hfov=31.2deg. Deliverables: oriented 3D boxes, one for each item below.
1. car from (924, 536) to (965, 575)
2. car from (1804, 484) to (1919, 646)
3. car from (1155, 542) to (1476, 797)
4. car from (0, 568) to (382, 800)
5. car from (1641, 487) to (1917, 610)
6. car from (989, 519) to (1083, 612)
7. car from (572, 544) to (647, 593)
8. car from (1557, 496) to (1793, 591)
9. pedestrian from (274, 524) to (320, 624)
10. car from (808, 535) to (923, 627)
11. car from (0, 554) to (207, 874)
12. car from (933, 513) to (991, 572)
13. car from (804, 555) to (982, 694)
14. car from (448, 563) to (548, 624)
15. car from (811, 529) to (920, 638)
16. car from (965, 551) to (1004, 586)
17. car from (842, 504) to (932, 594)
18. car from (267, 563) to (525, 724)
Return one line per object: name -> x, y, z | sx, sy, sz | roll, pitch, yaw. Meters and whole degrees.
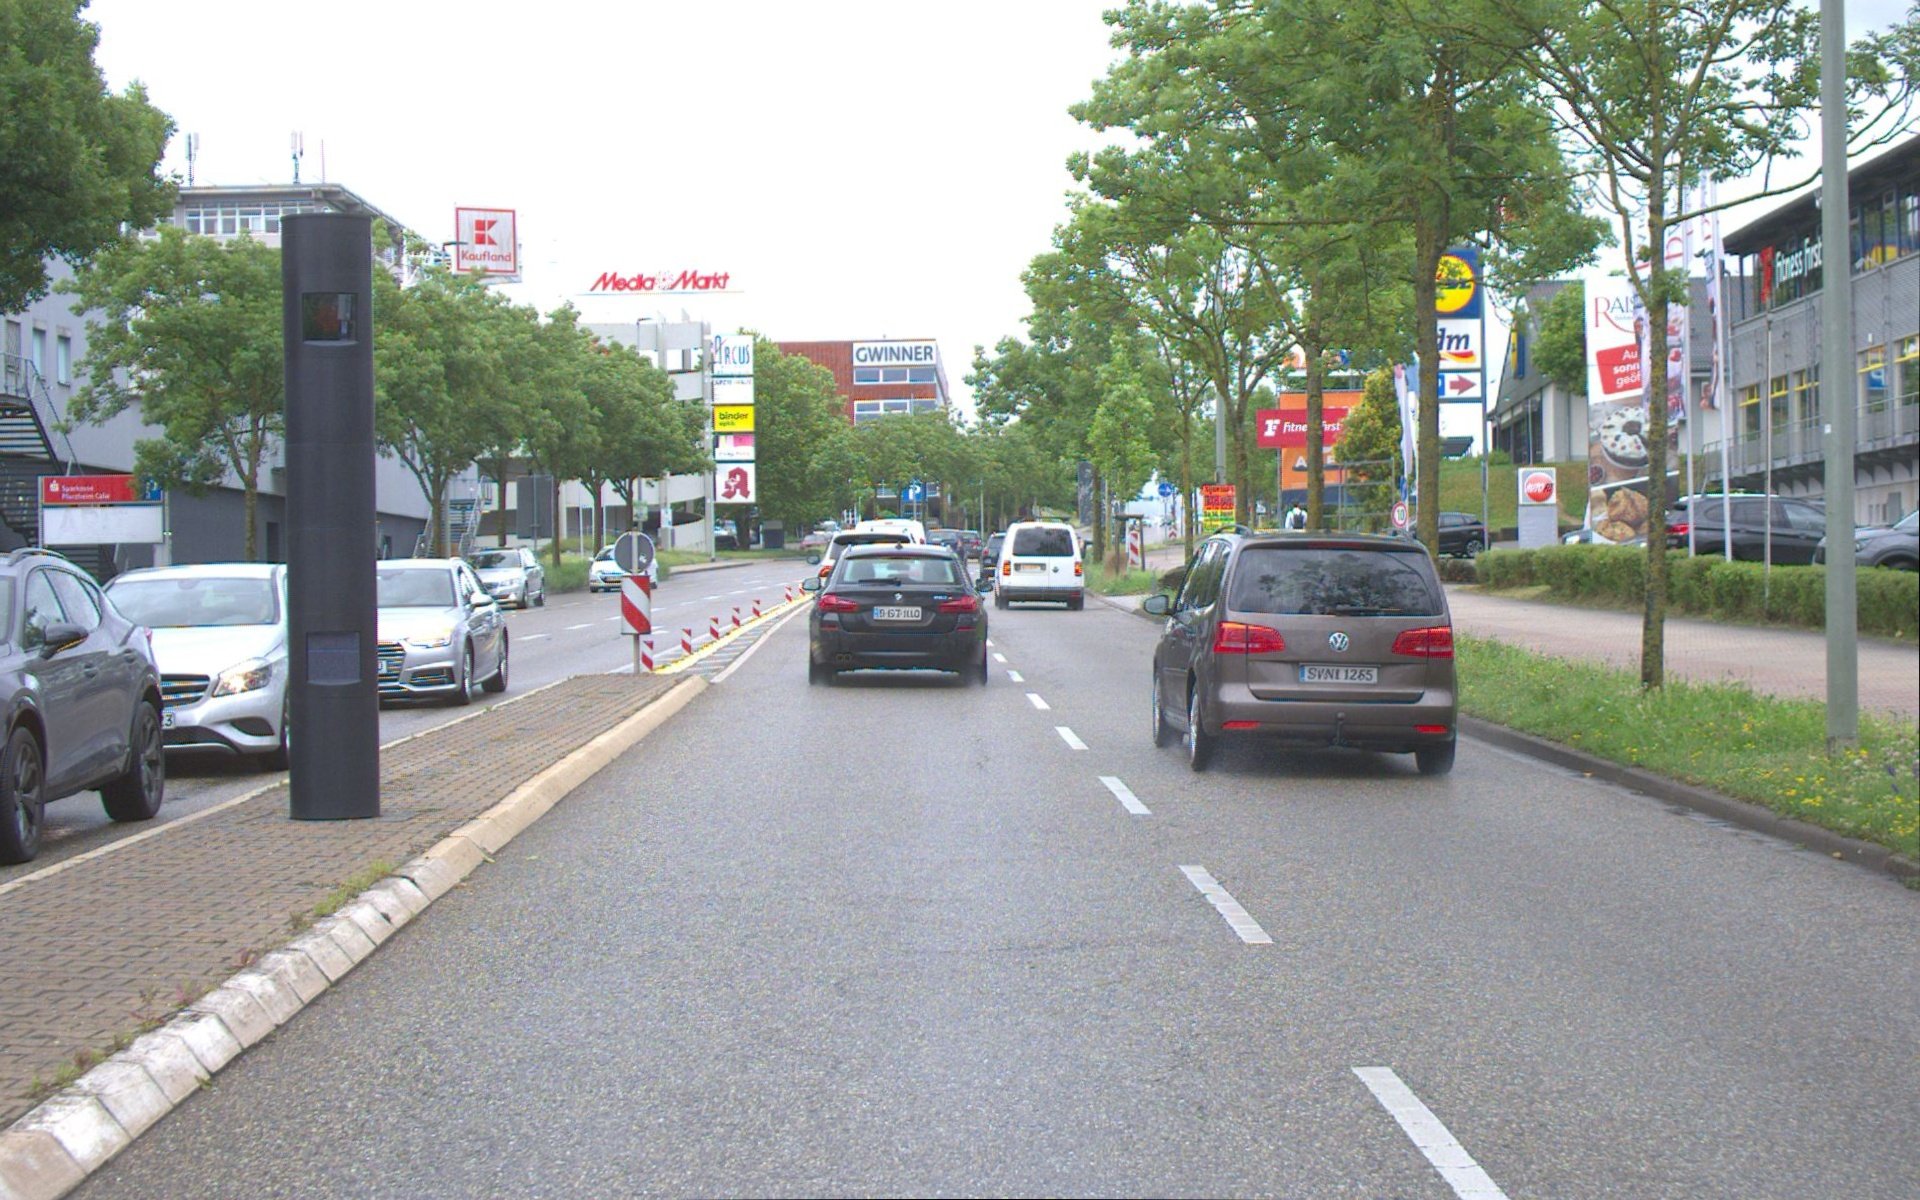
car -> -0.639, -1.762, 137.002 | 1.594, 1.469, 3.445 | 1, 0, -1
car -> 13.535, -0.490, 45.871 | 4.111, 2.098, 1.799 | -1, 1, 2
car -> 2.379, 0.411, 24.009 | 1.801, 1.581, 4.451 | 1, 1, 1
car -> -5.472, 0.524, 24.703 | 1.840, 1.372, 4.863 | -4, 1, -1
car -> 13.479, -0.854, 56.719 | 4.111, 1.898, 1.799 | -1, 1, 2
car -> 1.555, -0.716, 71.703 | 1.782, 1.860, 4.000 | -1, 0, 0
car -> -10.634, -0.961, 104.549 | 1.943, 1.443, 4.000 | 0, 1, -1
car -> 13.257, -1.048, 63.942 | 4.111, 1.698, 1.799 | -1, 1, 6
pedestrian -> -14.695, -0.578, 76.190 | 0.858, 2.210, 0.846 | -1, 1, -3
car -> -1.541, -0.309, 54.742 | 1.682, 1.372, 4.001 | -1, 1, -3
car -> -5.318, 0.526, 17.677 | 1.744, 1.484, 4.829 | -1, 1, 1
car -> 0.071, -1.704, 103.092 | 1.685, 1.678, 3.402 | 1, 0, 1
car -> -0.685, 0.227, 36.488 | 1.781, 1.393, 4.000 | 0, 0, 0
car -> -11.218, -0.182, 83.678 | 1.943, 1.448, 4.000 | 0, 1, -1
car -> -1.579, -0.286, 58.597 | 1.781, 1.787, 4.000 | 0, 0, 0
car -> 1.087, -1.396, 152.790 | 1.619, 1.490, 3.360 | 1, 0, -1
car -> -1.694, -1.174, 80.603 | 1.993, 2.007, 4.000 | 1, 0, 0
car -> -5.490, 0.382, 34.004 | 1.723, 1.393, 4.789 | -3, 0, 0
